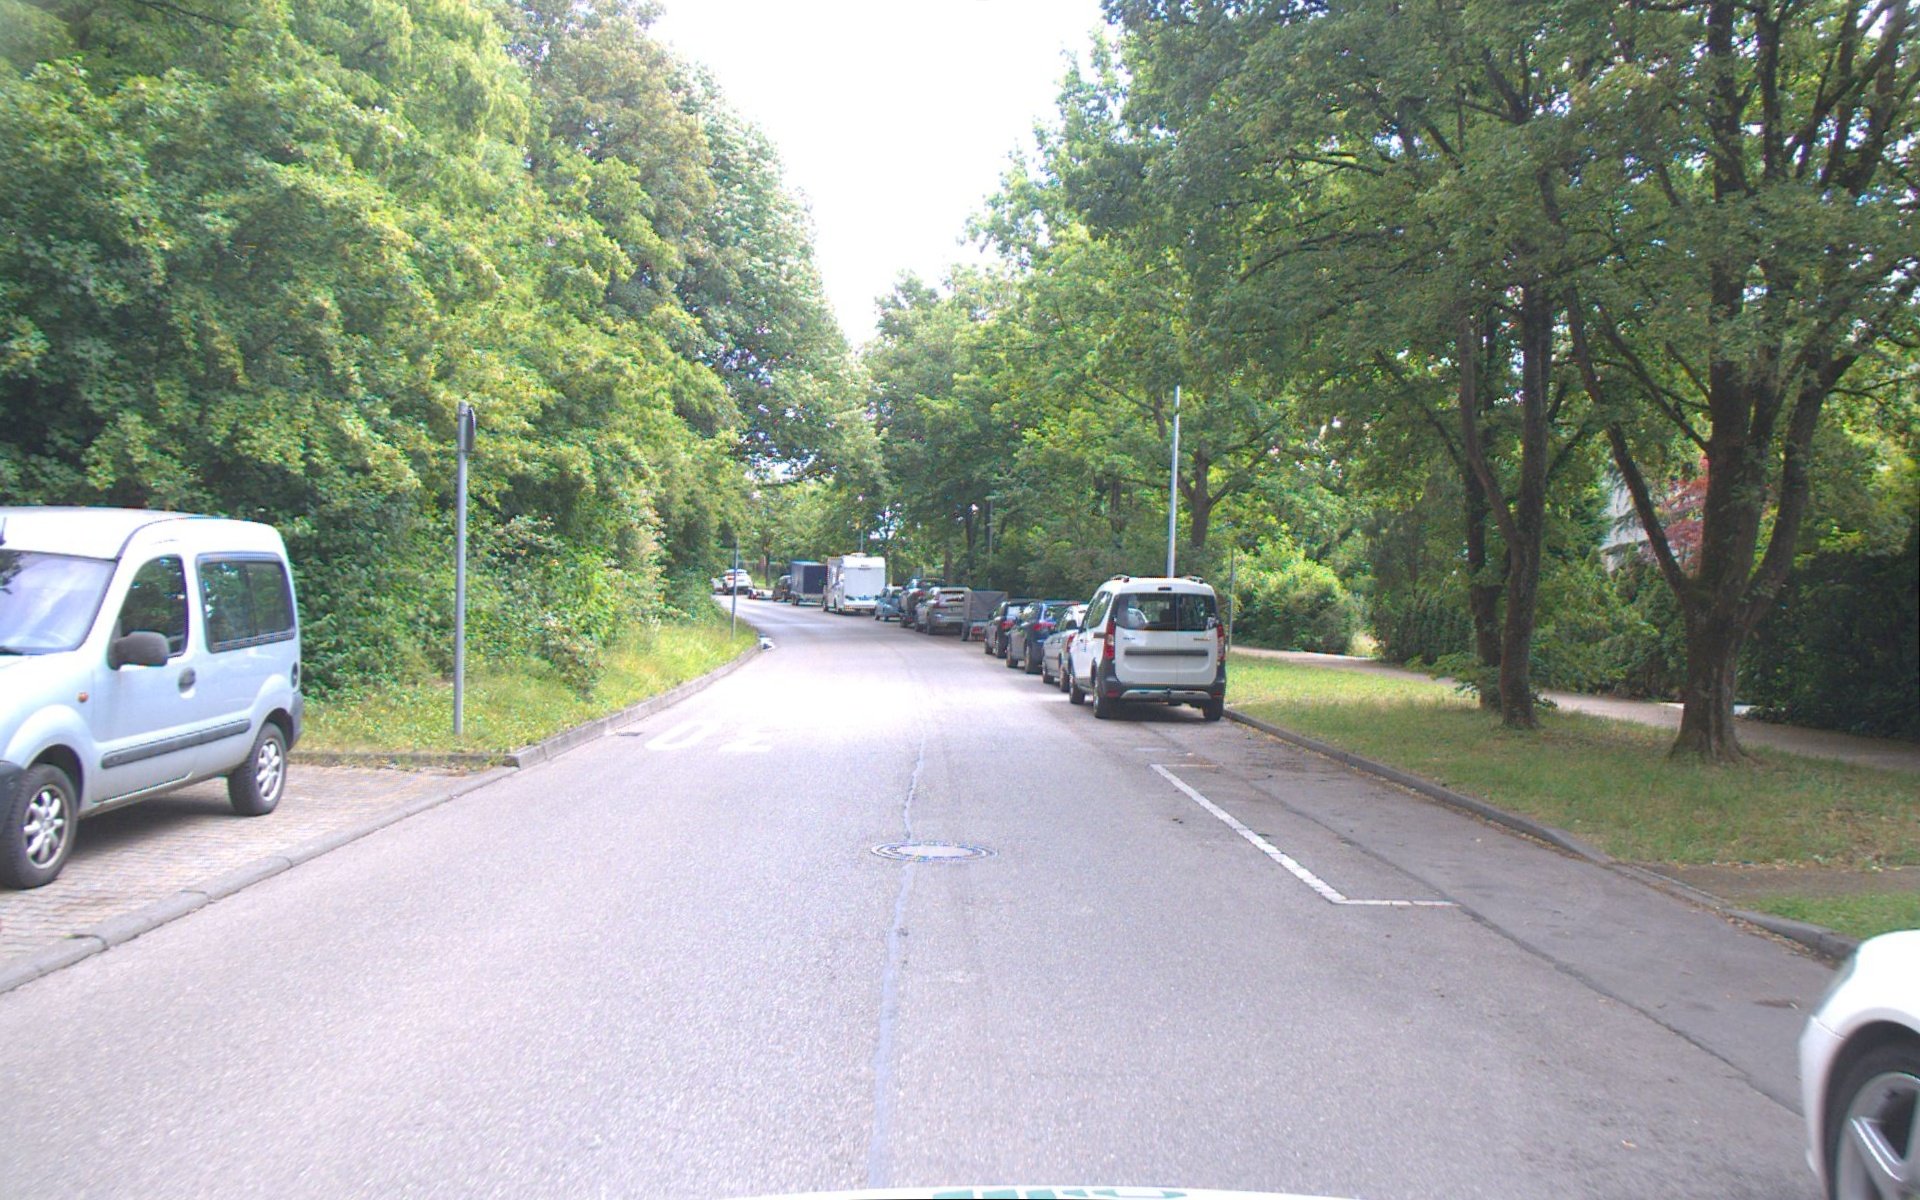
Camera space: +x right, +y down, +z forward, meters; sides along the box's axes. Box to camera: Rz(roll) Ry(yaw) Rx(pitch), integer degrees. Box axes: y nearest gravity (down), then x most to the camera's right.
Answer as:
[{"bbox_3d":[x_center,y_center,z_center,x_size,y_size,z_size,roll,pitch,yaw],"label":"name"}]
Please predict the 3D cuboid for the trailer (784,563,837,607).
[{"bbox_3d":[-8.586,-0.888,94.883,1.965,2.440,3.975,1,1,-21],"label":"trailer"}]

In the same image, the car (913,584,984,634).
[{"bbox_3d":[-0.448,0.328,58.922,1.760,1.699,4.490,1,-1,-11],"label":"car"}]

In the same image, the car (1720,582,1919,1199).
[{"bbox_3d":[2.874,0.759,1.495,1.848,1.533,5.174,1,0,-2],"label":"car"}]

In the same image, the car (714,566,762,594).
[{"bbox_3d":[-15.125,-1.393,112.536,2.011,1.835,4.048,0,1,-27],"label":"car"}]

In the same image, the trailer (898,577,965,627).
[{"bbox_3d":[-1.166,0.042,65.240,1.942,1.843,5.138,1,1,-9],"label":"trailer"}]

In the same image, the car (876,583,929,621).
[{"bbox_3d":[-2.633,0.087,74.485,1.768,1.589,3.825,1,1,-12],"label":"car"}]

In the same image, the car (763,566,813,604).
[{"bbox_3d":[-10.426,-0.919,100.037,1.966,2.061,3.974,-2,3,-22],"label":"car"}]

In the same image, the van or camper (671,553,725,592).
[{"bbox_3d":[-19.081,-2.017,120.243,2.499,2.744,4.532,-1,2,-29],"label":"van or camper"}]

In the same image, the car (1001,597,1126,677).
[{"bbox_3d":[2.098,0.722,34.695,1.812,1.500,4.472,2,0,-7],"label":"car"}]

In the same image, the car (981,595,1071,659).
[{"bbox_3d":[1.630,0.648,42.035,1.687,1.478,3.912,2,0,-6],"label":"car"}]

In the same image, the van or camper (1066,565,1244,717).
[{"bbox_3d":[2.600,0.556,22.978,1.766,1.870,4.318,1,-1,-2],"label":"van or camper"}]

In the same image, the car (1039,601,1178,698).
[{"bbox_3d":[2.495,0.798,28.724,1.777,1.462,4.240,2,0,-3],"label":"car"}]

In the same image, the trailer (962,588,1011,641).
[{"bbox_3d":[0.823,0.440,52.786,1.254,1.612,2.457,1,0,-6],"label":"trailer"}]

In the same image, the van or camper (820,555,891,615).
[{"bbox_3d":[-5.408,-0.785,84.549,2.440,2.926,6.865,1,1,-14],"label":"van or camper"}]

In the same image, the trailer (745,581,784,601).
[{"bbox_3d":[-12.297,-0.593,103.708,1.627,1.105,3.979,-1,2,-19],"label":"trailer"}]

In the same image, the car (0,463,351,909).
[{"bbox_3d":[-5.013,0.305,9.115,1.686,1.954,4.105,3,1,0],"label":"car"}]
